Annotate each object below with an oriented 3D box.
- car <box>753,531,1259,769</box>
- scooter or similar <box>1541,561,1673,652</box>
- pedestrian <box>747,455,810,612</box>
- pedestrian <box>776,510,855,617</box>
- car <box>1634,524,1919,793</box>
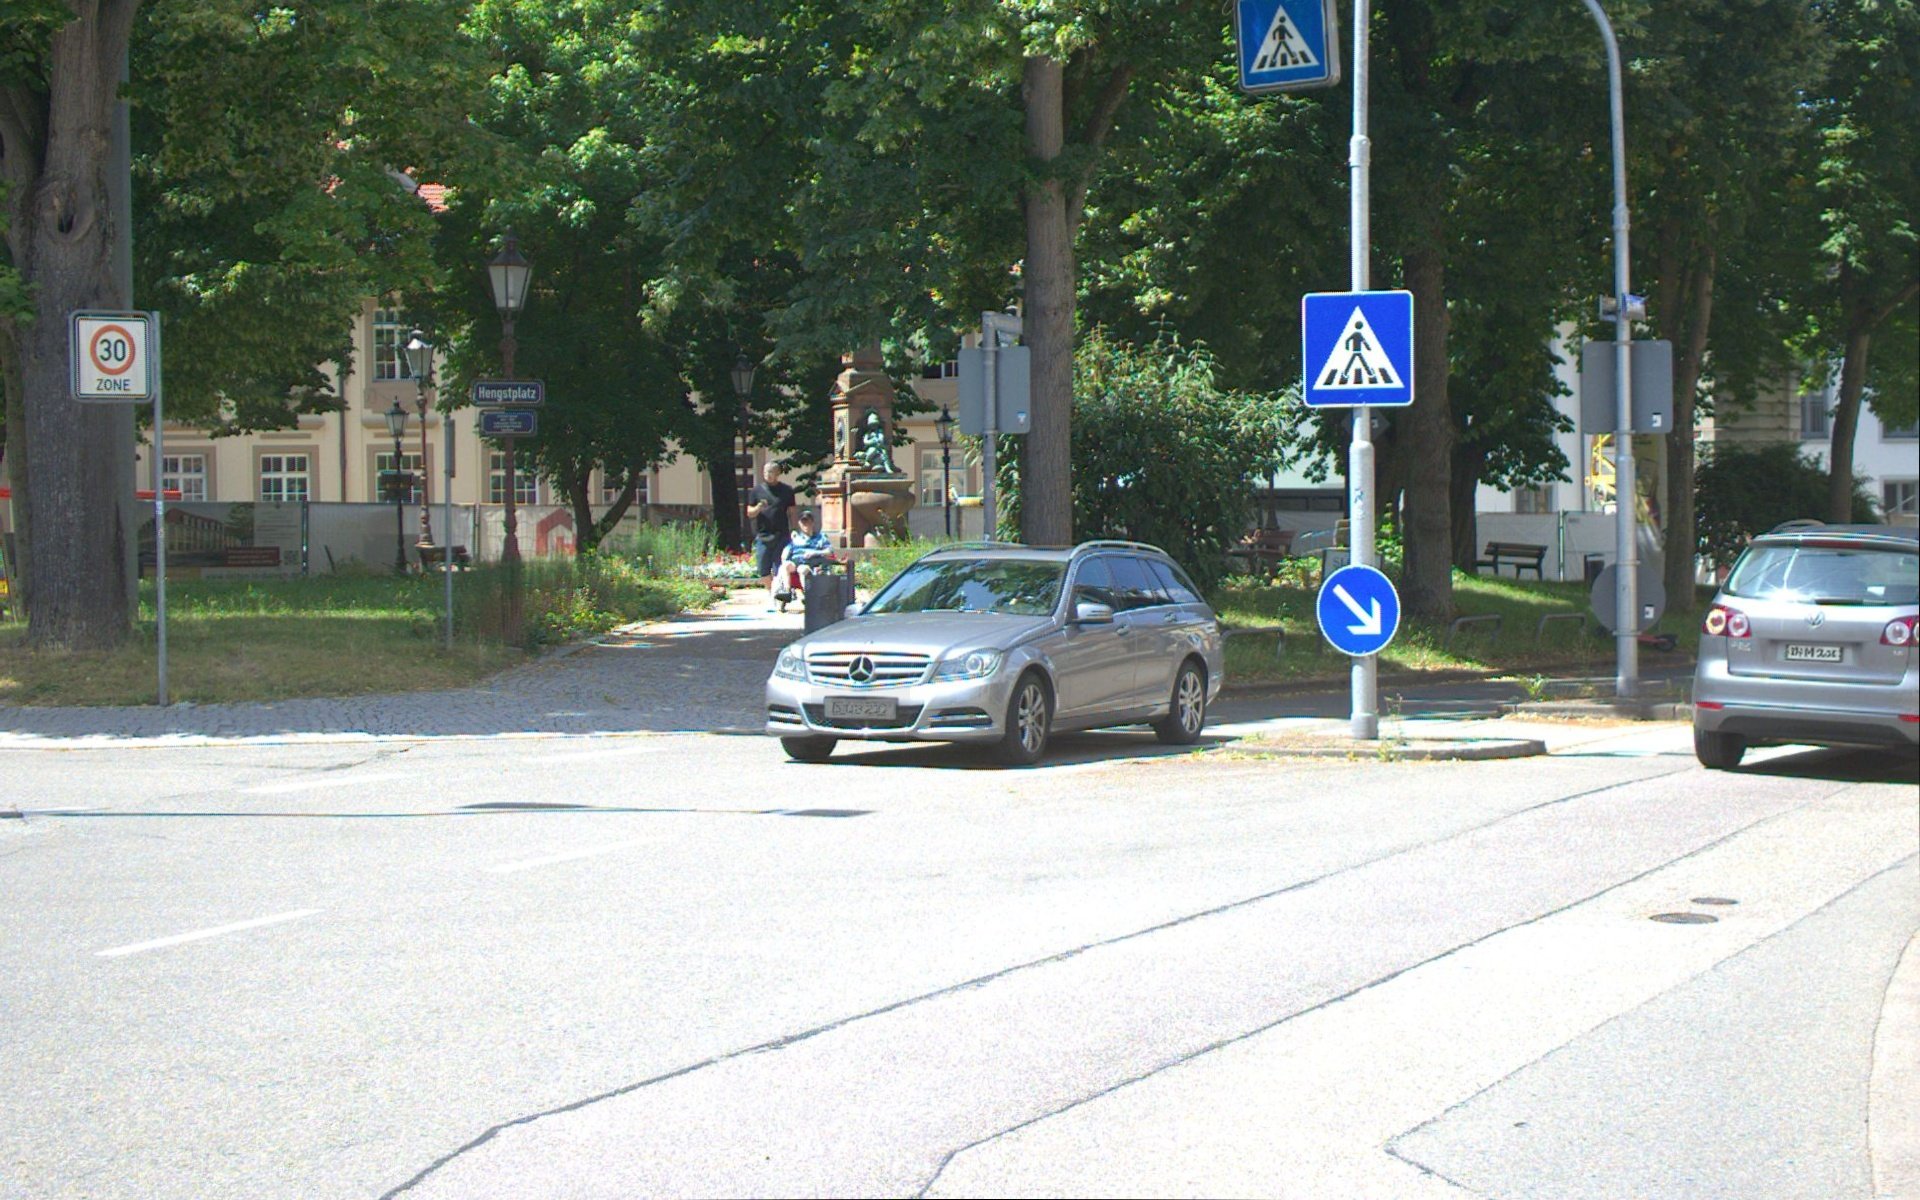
[{"bbox_3d":[0.435,0.270,23.822,1.740,1.483,4.402,1,1,27],"label":"car"},{"bbox_3d":[8.480,0.075,45.026,1.274,0.988,1.450,10,4,24],"label":"scooter or similar"},{"bbox_3d":[-2.222,-0.827,42.158,0.748,1.904,0.684,0,3,0],"label":"pedestrian"},{"bbox_3d":[-1.729,-0.446,41.287,0.906,1.247,1.148,0,3,0],"label":"pedestrian"},{"bbox_3d":[6.118,0.326,22.469,1.907,1.528,4.236,3,2,32],"label":"car"}]
